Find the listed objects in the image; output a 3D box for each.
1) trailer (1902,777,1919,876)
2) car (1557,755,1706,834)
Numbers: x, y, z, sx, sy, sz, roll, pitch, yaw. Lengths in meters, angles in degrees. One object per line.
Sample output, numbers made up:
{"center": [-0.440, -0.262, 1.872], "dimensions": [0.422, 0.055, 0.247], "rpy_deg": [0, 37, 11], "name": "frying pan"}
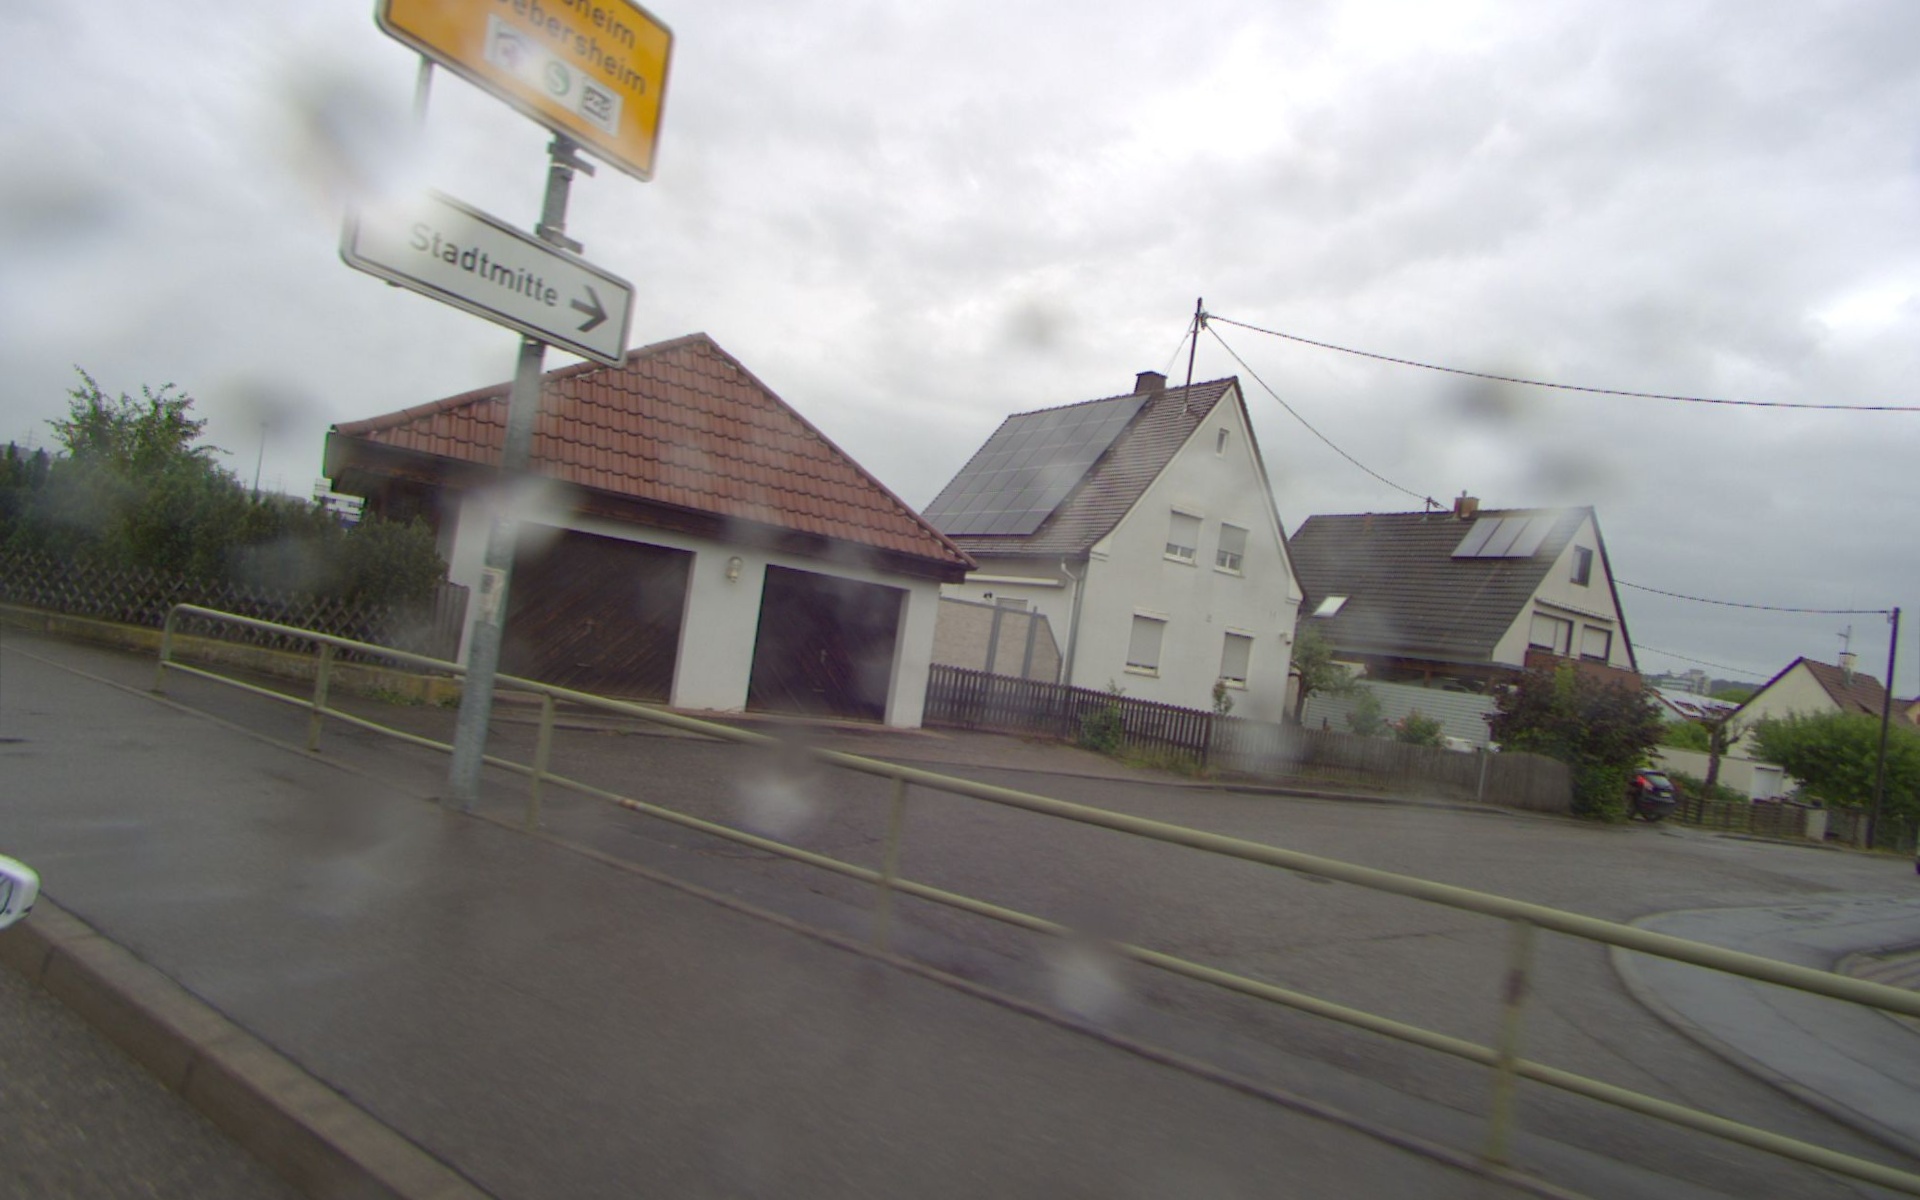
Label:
{"center": [25.767, 5.933, 25.389], "dimensions": [3.965, 2.369, 1.949], "rpy_deg": [10, -3, -34], "name": "trailer"}
{"center": [18.573, 5.354, 28.015], "dimensions": [1.654, 1.457, 3.352], "rpy_deg": [9, -3, -2], "name": "car"}
